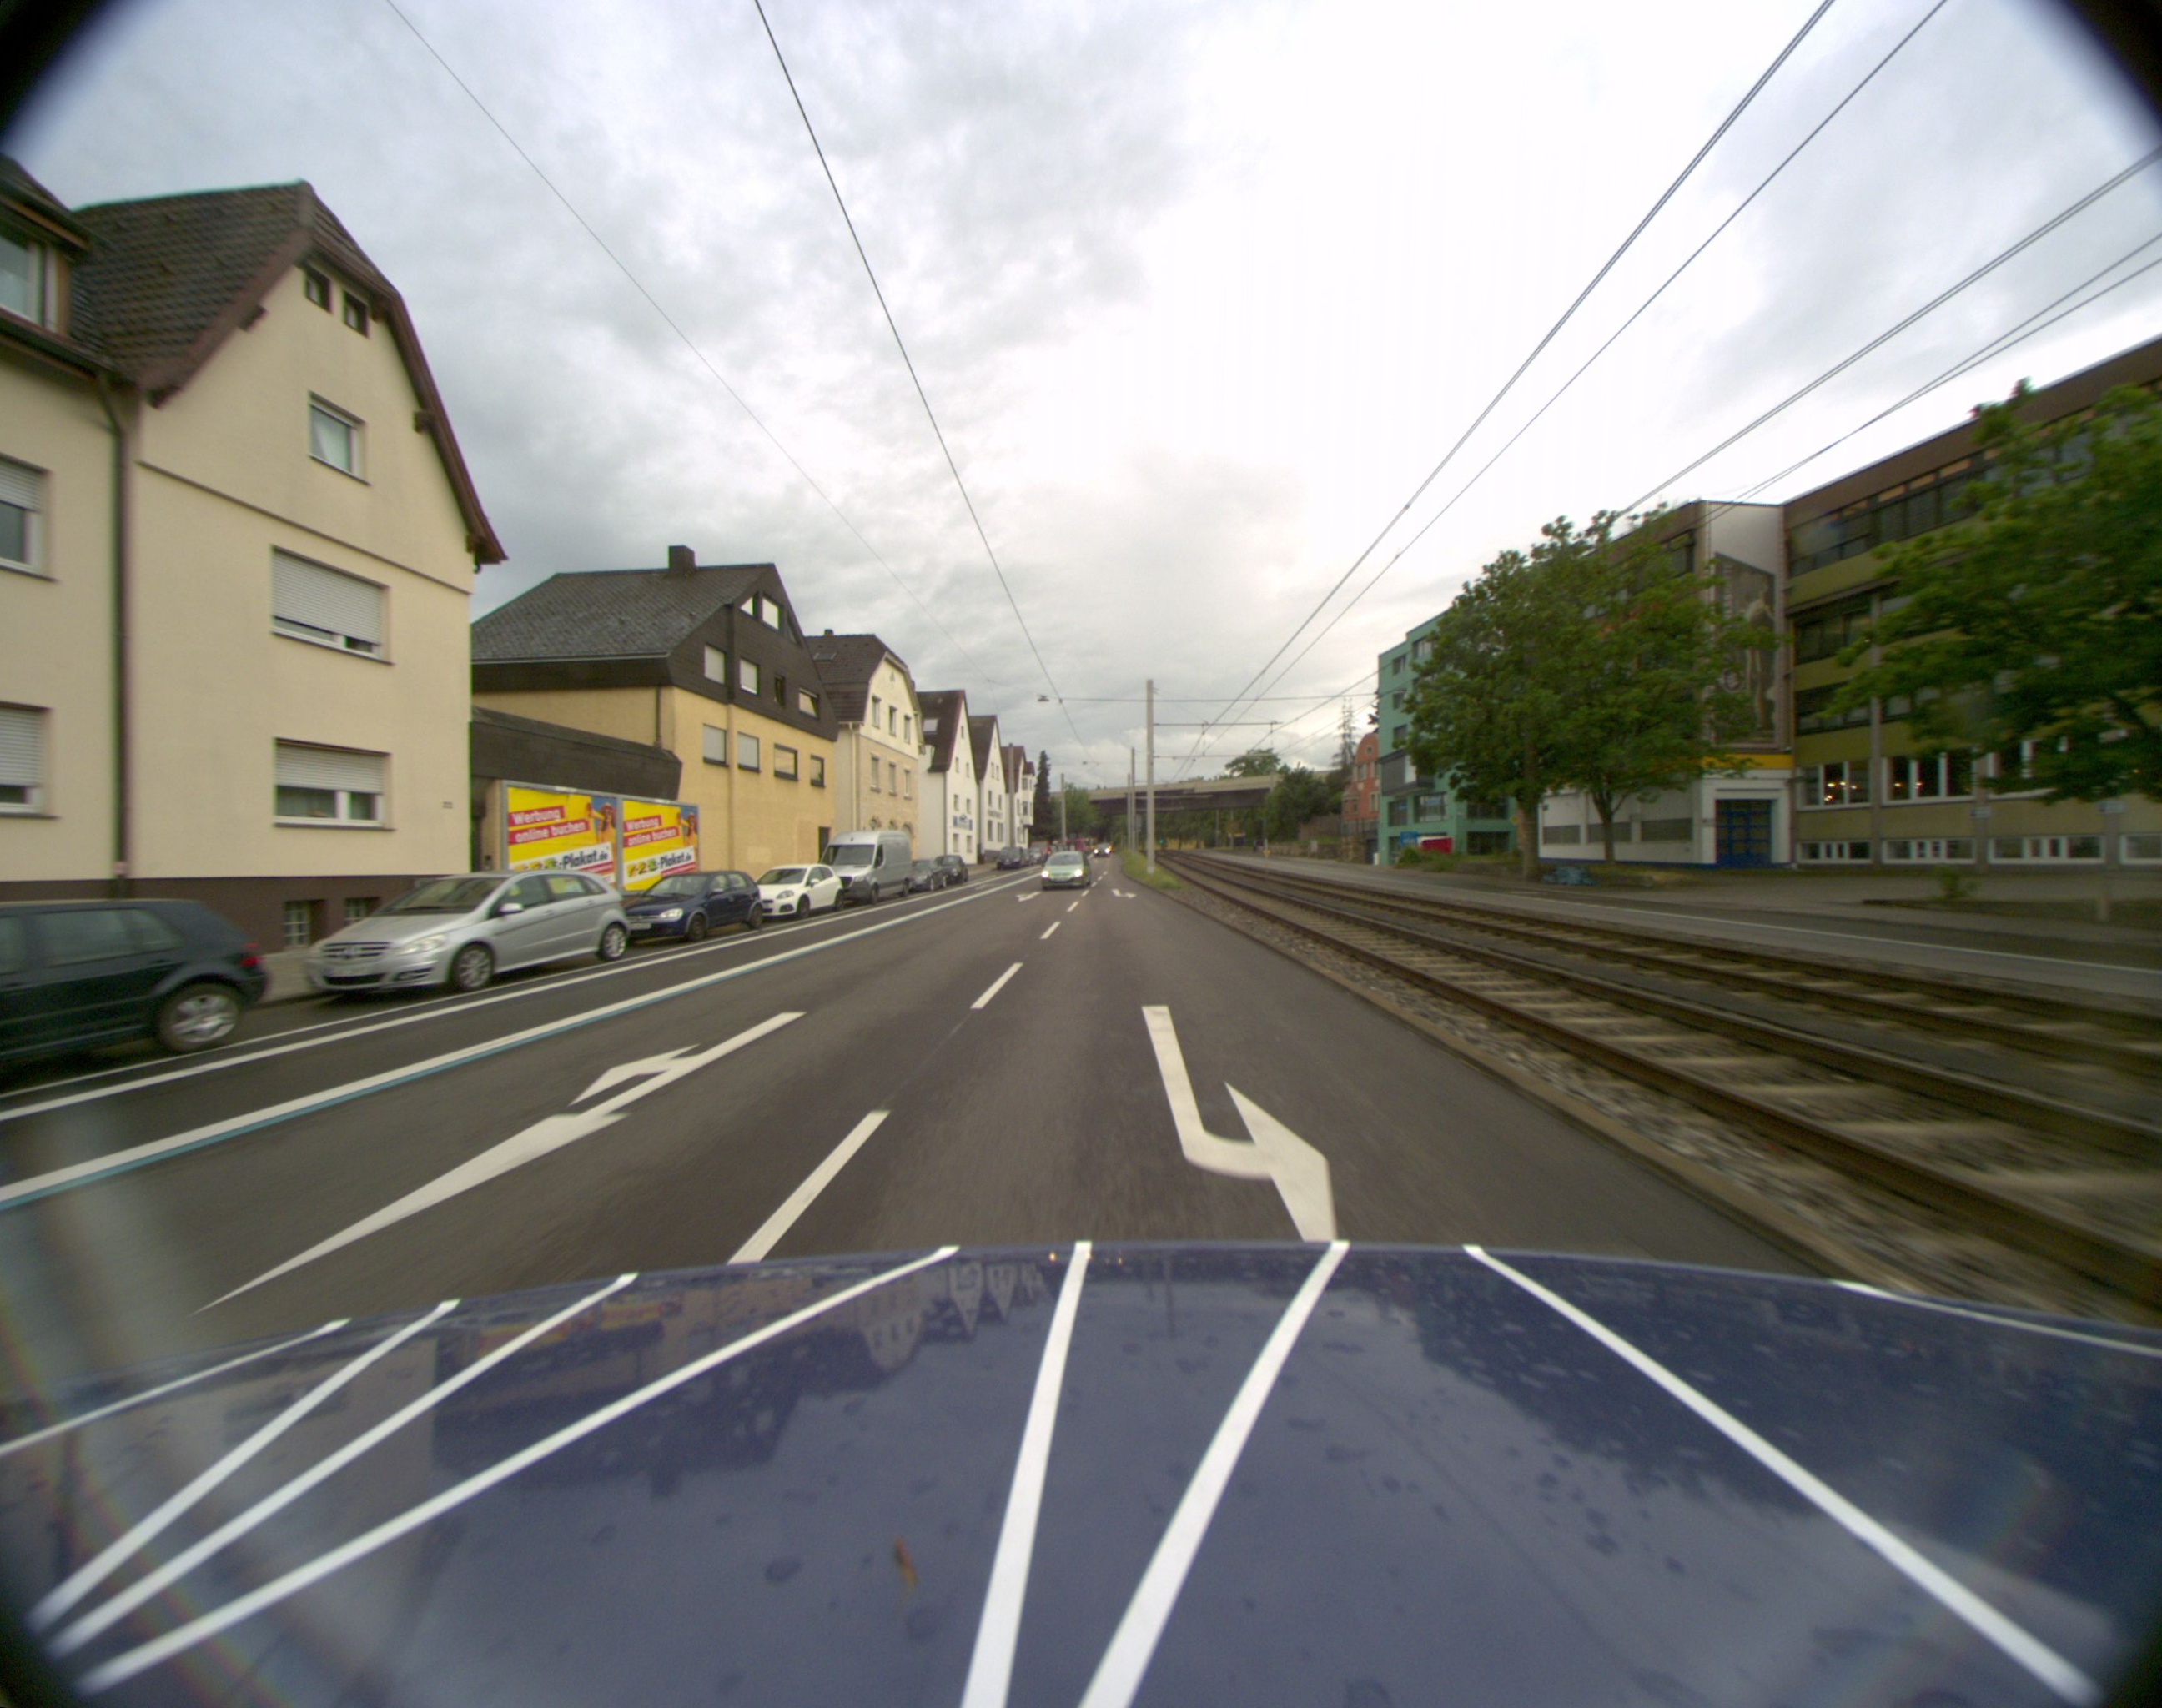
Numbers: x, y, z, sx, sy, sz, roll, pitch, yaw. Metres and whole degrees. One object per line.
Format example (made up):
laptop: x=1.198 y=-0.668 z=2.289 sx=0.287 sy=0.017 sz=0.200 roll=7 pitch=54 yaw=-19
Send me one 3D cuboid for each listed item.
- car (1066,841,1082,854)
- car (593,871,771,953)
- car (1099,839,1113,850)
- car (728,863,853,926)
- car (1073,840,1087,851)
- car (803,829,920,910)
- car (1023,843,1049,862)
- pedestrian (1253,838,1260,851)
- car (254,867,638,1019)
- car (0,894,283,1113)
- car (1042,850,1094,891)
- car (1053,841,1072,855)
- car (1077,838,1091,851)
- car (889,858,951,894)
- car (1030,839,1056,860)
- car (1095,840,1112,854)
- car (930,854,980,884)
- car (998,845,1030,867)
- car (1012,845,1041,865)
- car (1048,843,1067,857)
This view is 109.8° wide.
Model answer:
car: x=-0.954 y=-0.886 z=102.368 sx=1.726 sy=1.539 sz=4.201 roll=-2 pitch=1 yaw=5
car: x=-8.395 y=1.149 z=16.408 sx=1.604 sy=1.393 sz=3.792 roll=-2 pitch=1 yaw=4
car: x=3.517 y=-1.391 z=107.771 sx=1.888 sy=1.416 sz=4.200 roll=-2 pitch=1 yaw=2
car: x=-7.967 y=1.051 z=21.278 sx=1.604 sy=1.456 sz=4.201 roll=-2 pitch=1 yaw=4
car: x=-0.136 y=-1.318 z=112.498 sx=1.726 sy=1.539 sz=4.201 roll=-2 pitch=1 yaw=5
car: x=-7.570 y=0.423 z=26.952 sx=2.044 sy=2.485 sz=5.921 roll=-2 pitch=1 yaw=3
car: x=-4.051 y=-0.152 z=69.181 sx=1.726 sy=1.539 sz=4.201 roll=-2 pitch=1 yaw=5
pedestrian: x=21.754 y=-1.204 z=94.215 sx=0.746 sy=1.636 sz=1.021 roll=-1 pitch=1 yaw=3
car: x=-8.670 y=1.088 z=11.013 sx=1.705 sy=1.557 sz=4.282 roll=-2 pitch=1 yaw=4
car: x=-8.871 y=1.194 z=5.464 sx=1.690 sy=1.503 sz=4.138 roll=-2 pitch=1 yaw=4
car: x=-0.475 y=0.625 z=31.608 sx=1.888 sy=1.441 sz=4.200 roll=-2 pitch=1 yaw=2
car: x=-2.178 y=-0.716 z=91.126 sx=1.726 sy=1.539 sz=4.201 roll=-2 pitch=1 yaw=5
car: x=0.468 y=-1.473 z=117.952 sx=1.726 sy=1.994 sz=4.201 roll=-2 pitch=1 yaw=5
car: x=-7.070 y=0.914 z=33.785 sx=1.726 sy=1.338 sz=4.084 roll=-2 pitch=1 yaw=2
car: x=-3.659 y=-0.455 z=74.854 sx=1.977 sy=1.984 sz=4.435 roll=-2 pitch=1 yaw=4
car: x=2.606 y=-0.825 z=87.245 sx=1.888 sy=1.416 sz=4.200 roll=-2 pitch=1 yaw=2
car: x=-6.543 y=0.740 z=39.832 sx=1.726 sy=1.338 sz=4.200 roll=-2 pitch=1 yaw=2
car: x=-5.093 y=0.110 z=58.382 sx=1.726 sy=1.539 sz=4.201 roll=-2 pitch=1 yaw=5
car: x=-4.571 y=0.027 z=63.774 sx=1.726 sy=1.539 sz=4.201 roll=-2 pitch=1 yaw=5
car: x=-2.638 y=-0.461 z=86.404 sx=1.726 sy=1.539 sz=4.201 roll=-2 pitch=1 yaw=5
